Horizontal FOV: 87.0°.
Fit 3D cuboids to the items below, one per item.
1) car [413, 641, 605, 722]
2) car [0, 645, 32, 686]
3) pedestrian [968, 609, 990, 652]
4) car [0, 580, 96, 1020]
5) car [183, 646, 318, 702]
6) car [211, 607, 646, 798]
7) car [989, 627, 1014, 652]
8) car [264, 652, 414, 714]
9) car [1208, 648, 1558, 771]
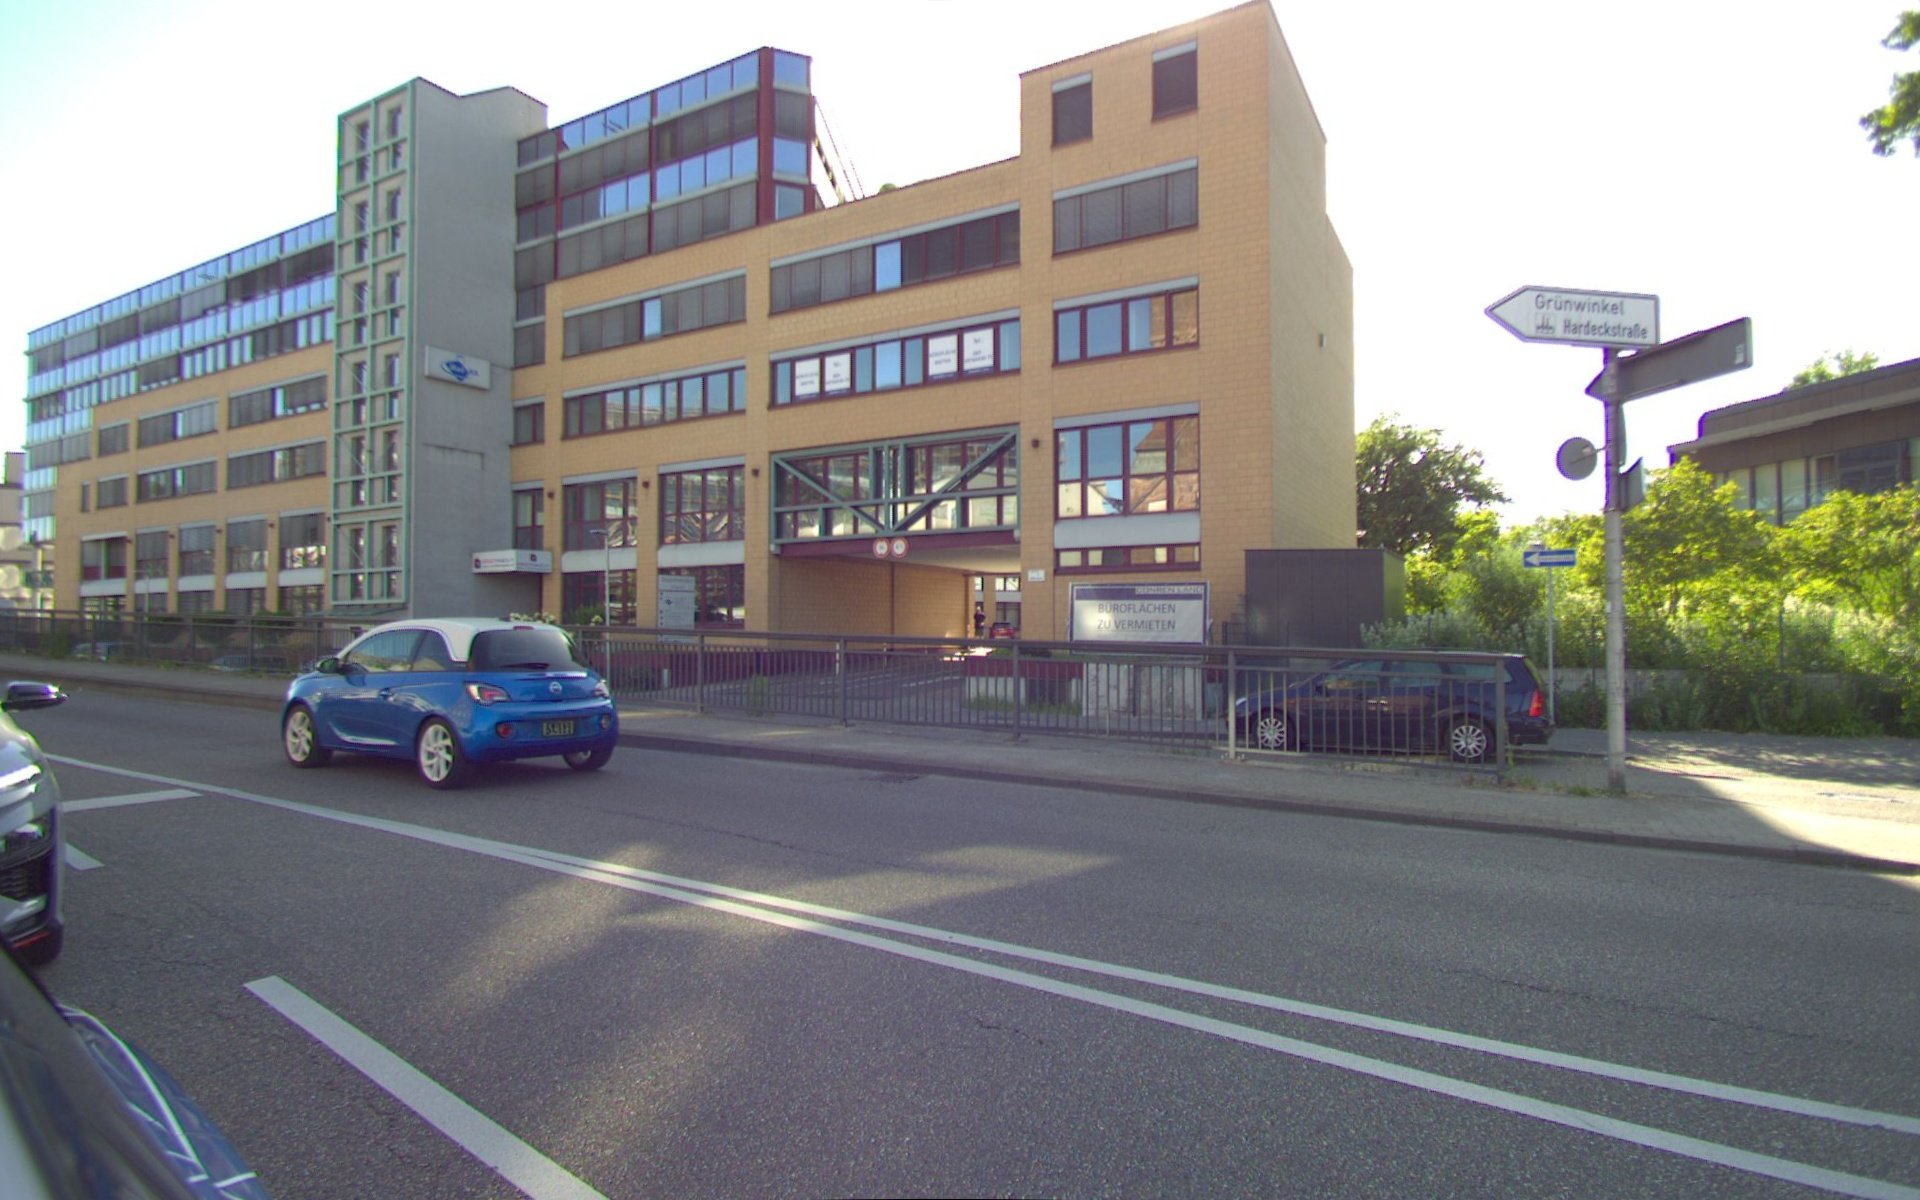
[{"bbox_3d":[-11.156,1.928,24.949,4.667,1.771,1.938,-1,-1,29],"label":"car"},{"bbox_3d":[-41.488,2.784,43.106,3.988,1.674,1.977,-1,-3,33],"label":"car"},{"bbox_3d":[0.841,1.316,43.958,0.676,1.858,0.779,-2,-3,28],"label":"pedestrian"},{"bbox_3d":[-5.513,0.728,4.413,4.214,1.582,1.827,-1,-1,38],"label":"car"},{"bbox_3d":[-22.234,2.255,31.692,4.340,1.616,1.807,-1,-3,30],"label":"car"},{"bbox_3d":[-5.339,0.899,10.022,4.435,1.515,1.806,-2,-3,32],"label":"car"},{"bbox_3d":[2.746,2.602,66.738,1.621,1.586,3.150,-1,-2,2],"label":"car"},{"bbox_3d":[-17.743,2.310,28.870,4.340,1.616,1.807,-1,-3,30],"label":"car"},{"bbox_3d":[6.056,1.468,14.701,4.438,1.515,1.805,-2,-3,33],"label":"car"}]
